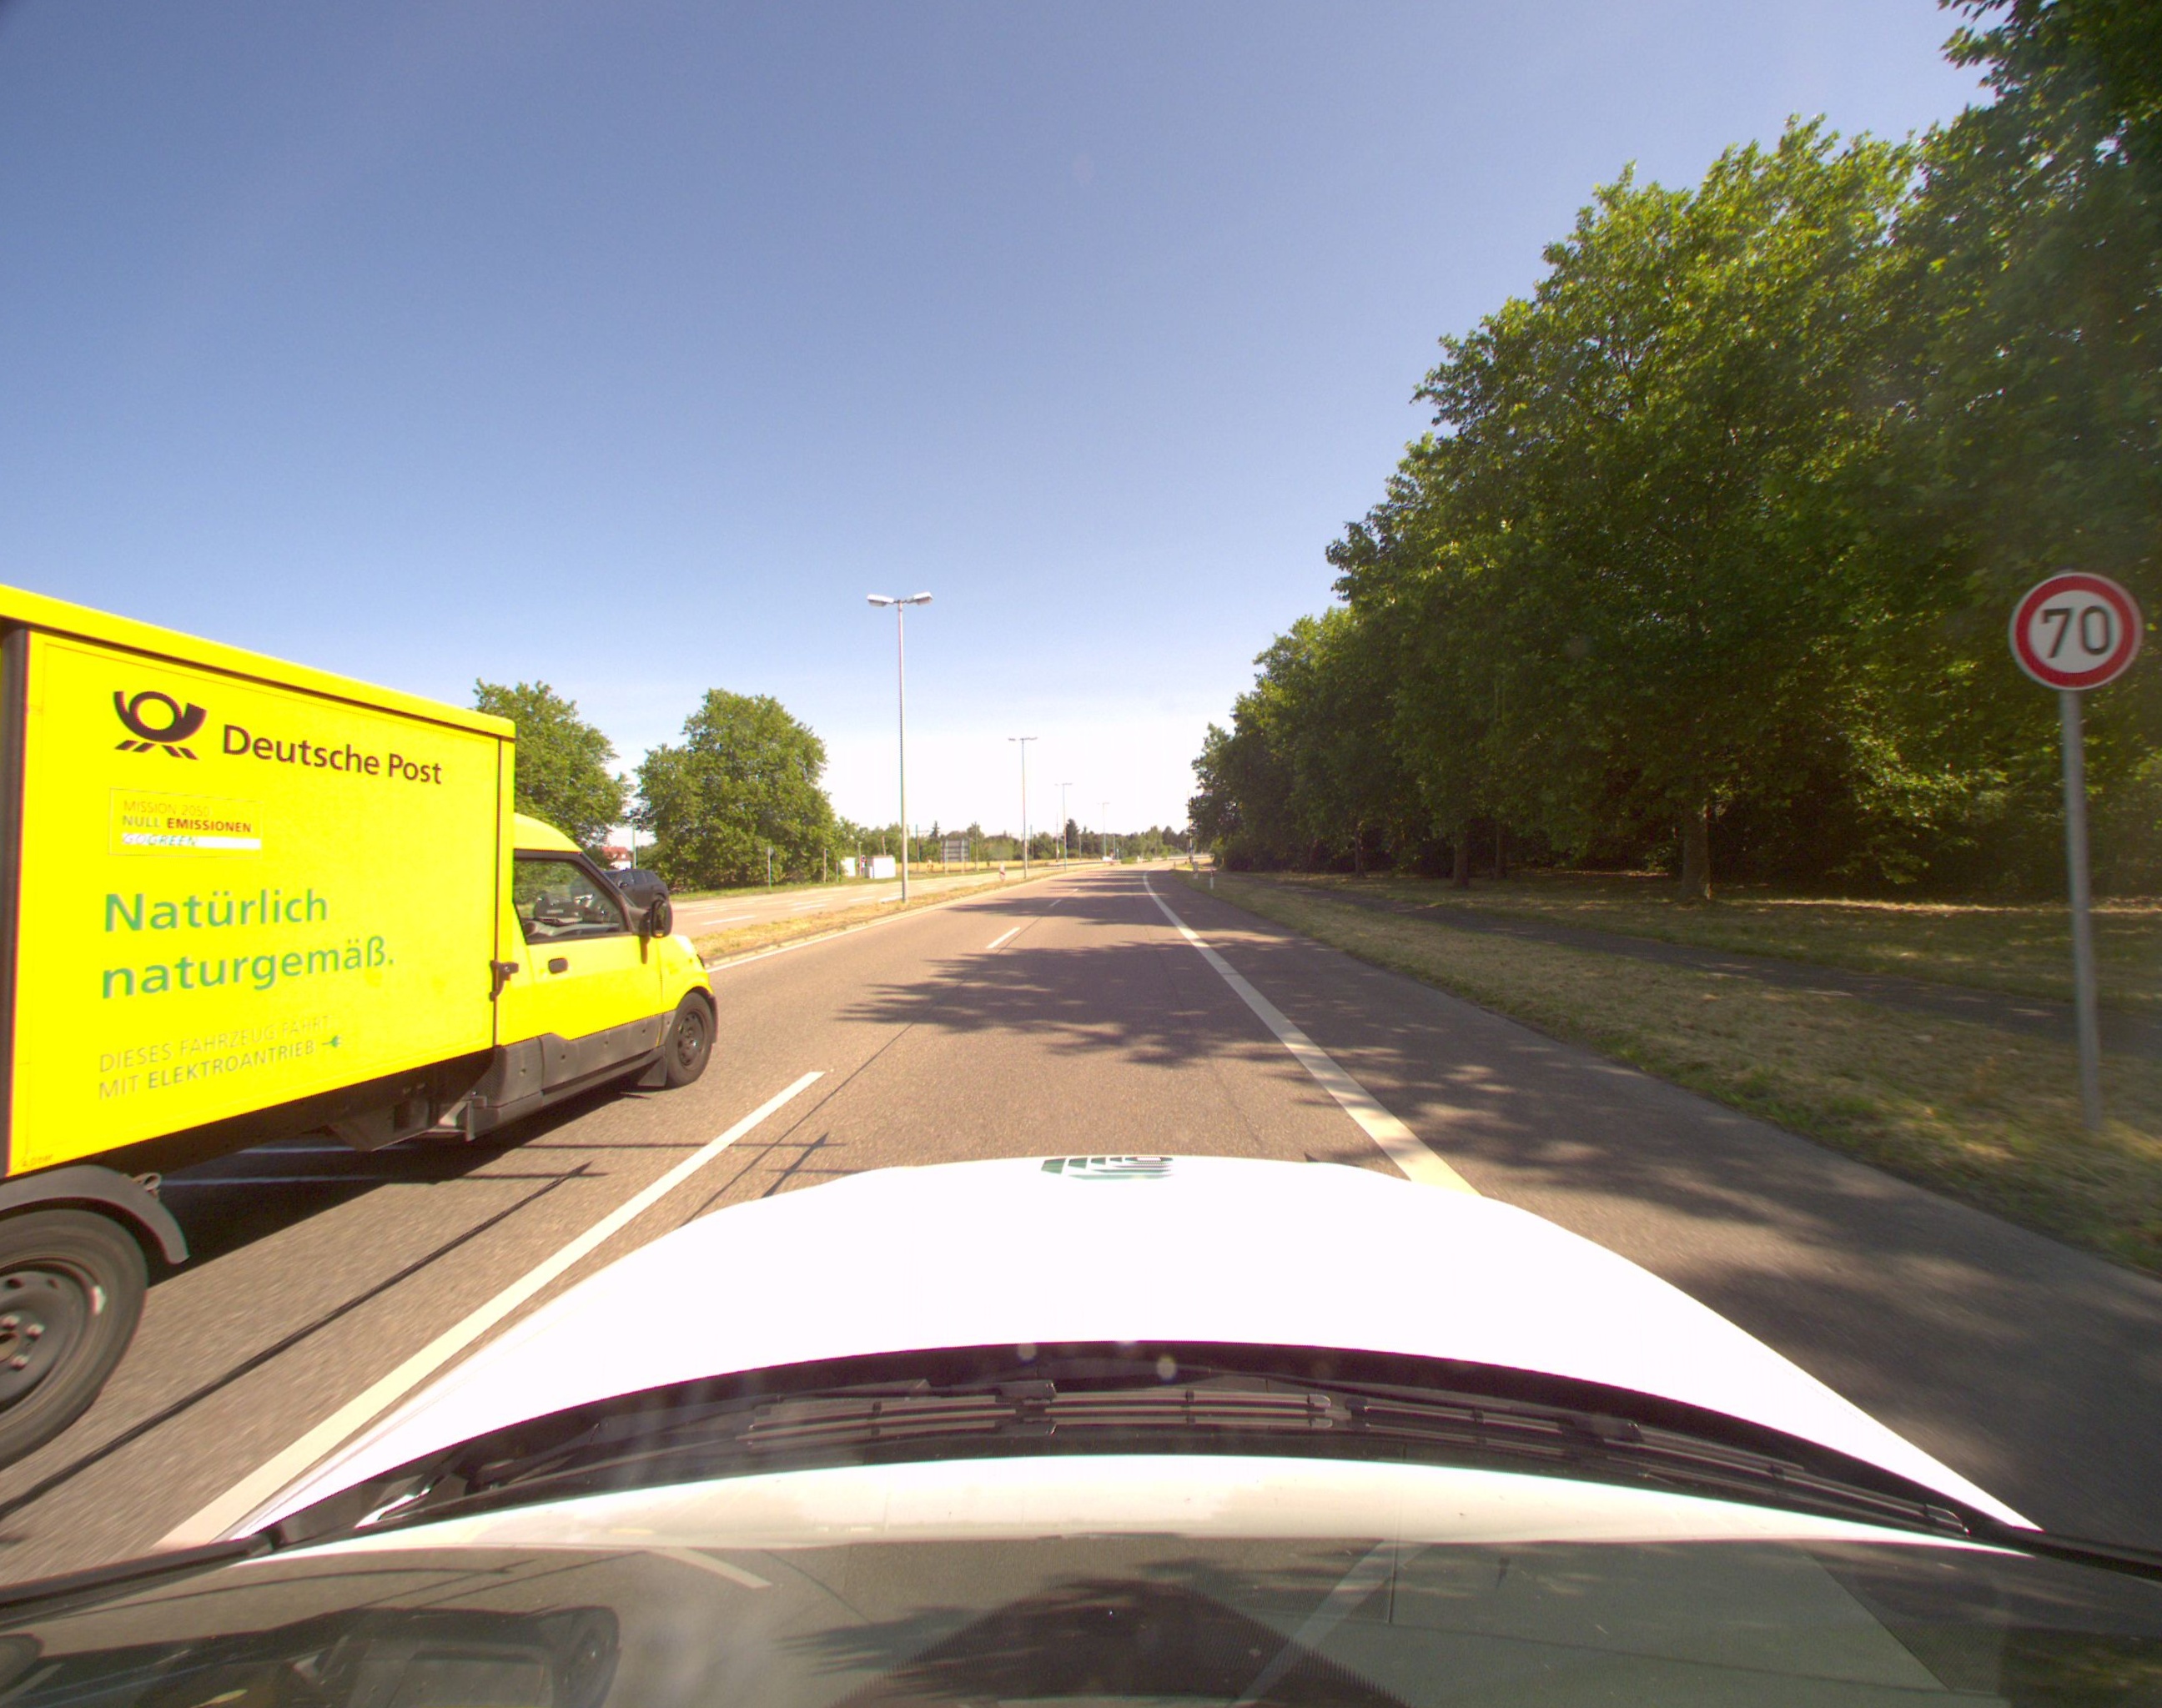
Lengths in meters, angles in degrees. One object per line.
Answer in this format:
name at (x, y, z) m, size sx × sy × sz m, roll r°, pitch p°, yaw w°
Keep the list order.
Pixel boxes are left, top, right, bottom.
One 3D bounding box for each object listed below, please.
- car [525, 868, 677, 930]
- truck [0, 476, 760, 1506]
car at (-15.120, 1.355, 26.019) m, size 1.974 × 1.660 × 4.557 m, roll -2°, pitch 0°, yaw 2°
truck at (-3.612, 0.340, 3.385) m, size 2.104 × 2.457 × 5.917 m, roll -1°, pitch 0°, yaw 1°
